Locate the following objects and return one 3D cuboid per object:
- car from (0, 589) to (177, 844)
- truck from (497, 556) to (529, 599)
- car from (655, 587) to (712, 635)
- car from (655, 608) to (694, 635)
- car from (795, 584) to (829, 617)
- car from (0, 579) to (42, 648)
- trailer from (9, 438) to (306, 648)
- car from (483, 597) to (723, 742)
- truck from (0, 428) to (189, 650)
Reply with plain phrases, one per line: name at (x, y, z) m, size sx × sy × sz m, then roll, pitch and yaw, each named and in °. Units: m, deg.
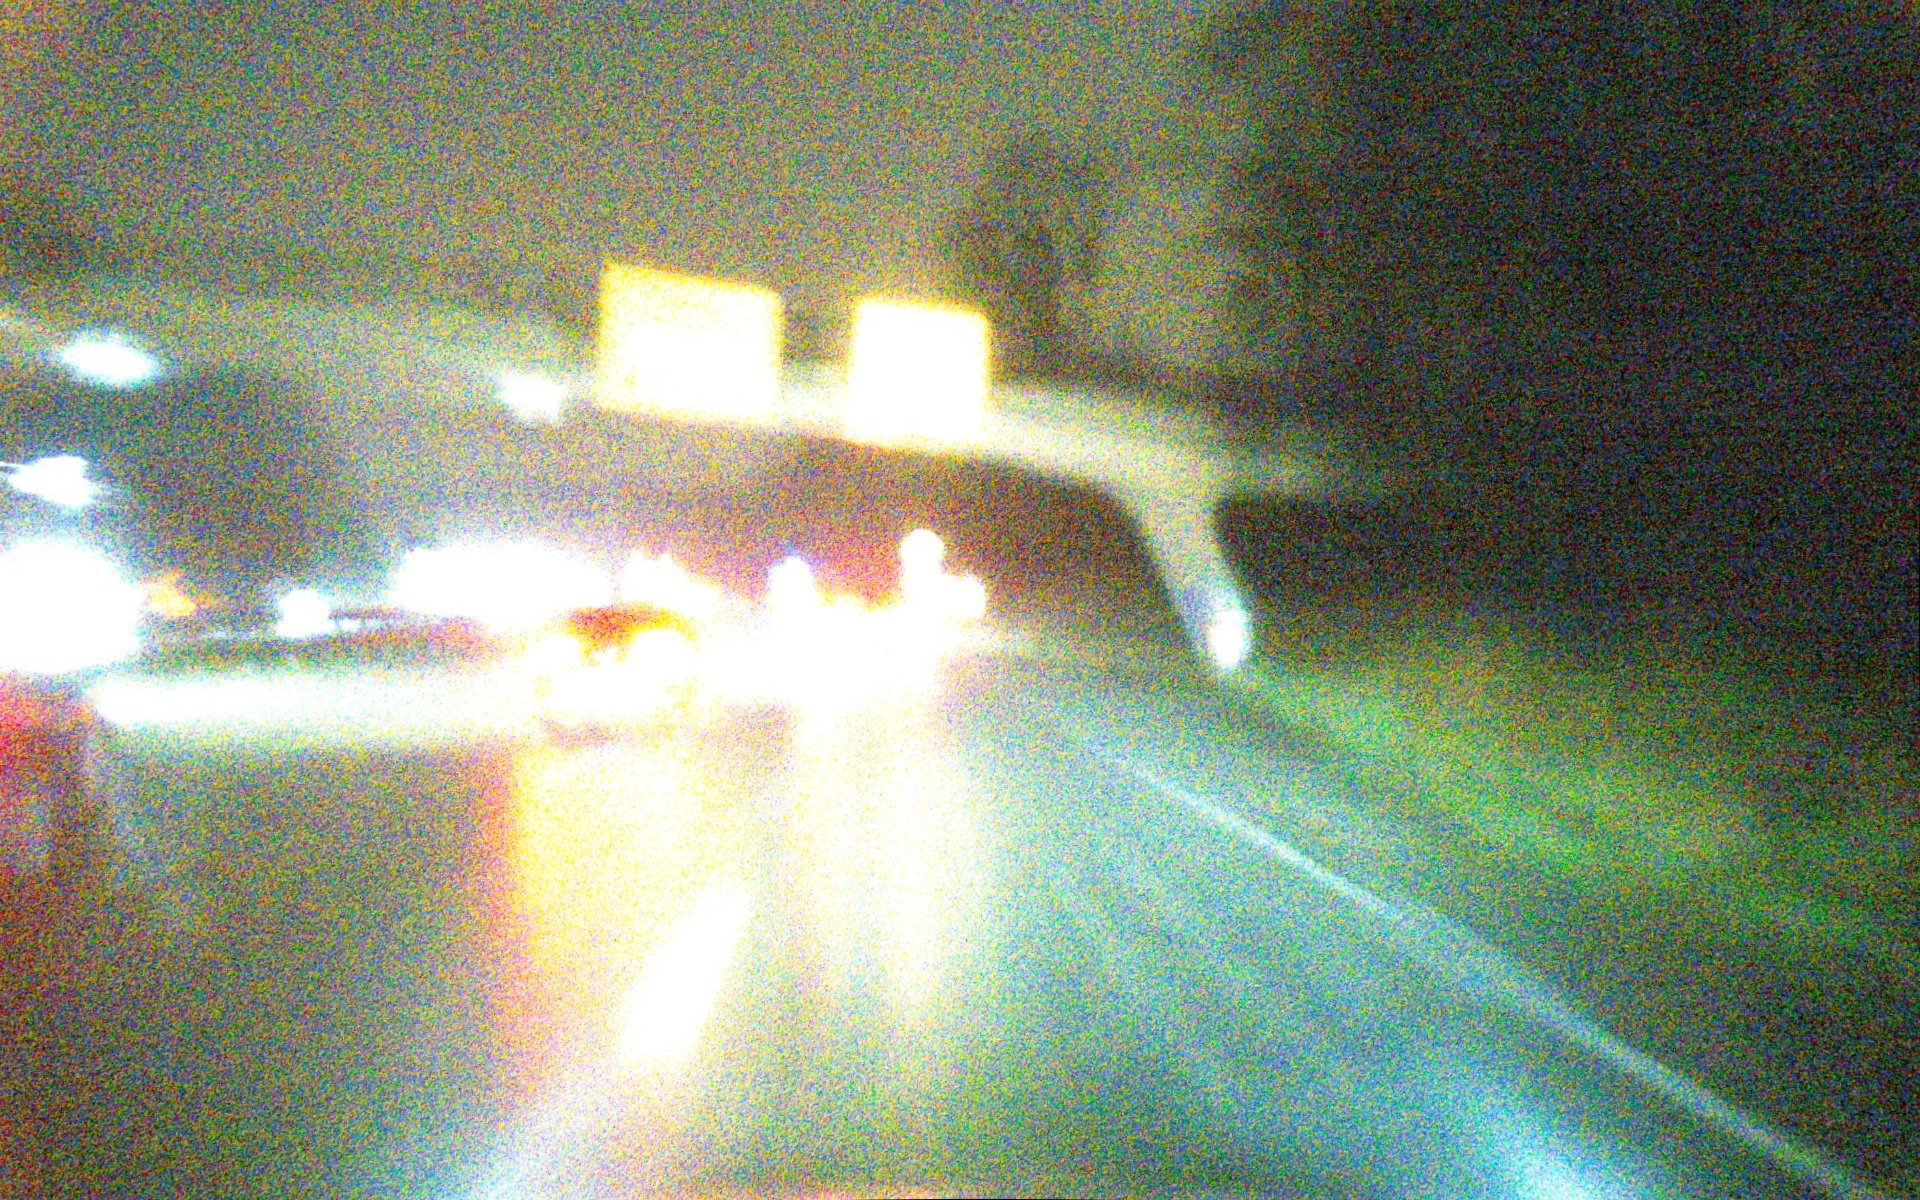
car at (-6.693, 0.688, 9.873) m, size 1.732 × 1.543 × 4.913 m, roll 2°, pitch 0°, yaw -1°
truck at (-39.026, -1.939, 144.238) m, size 2.562 × 3.518 × 4.621 m, roll 2°, pitch -1°, yaw -16°
car at (-9.797, 0.404, 58.794) m, size 1.857 × 1.578 × 3.992 m, roll 2°, pitch -1°, yaw -8°
car at (-17.888, 1.351, 103.926) m, size 1.857 × 1.572 × 3.998 m, roll 2°, pitch -1°, yaw -2°
car at (-9.450, 0.054, 105.952) m, size 1.954 × 2.049 × 3.998 m, roll 2°, pitch -1°, yaw -3°
car at (-25.407, 0.327, 42.100) m, size 1.954 × 1.758 × 3.997 m, roll 2°, pitch -1°, yaw -4°
trailer at (-20.180, -1.168, 42.784) m, size 2.525 × 4.535 × 12.477 m, roll 2°, pitch -1°, yaw -5°
car at (-3.912, 0.741, 18.846) m, size 1.923 × 1.405 × 4.047 m, roll 2°, pitch -1°, yaw -2°
truck at (-19.617, -1.231, 36.714) m, size 2.515 × 4.481 × 5.843 m, roll 2°, pitch -1°, yaw -6°
